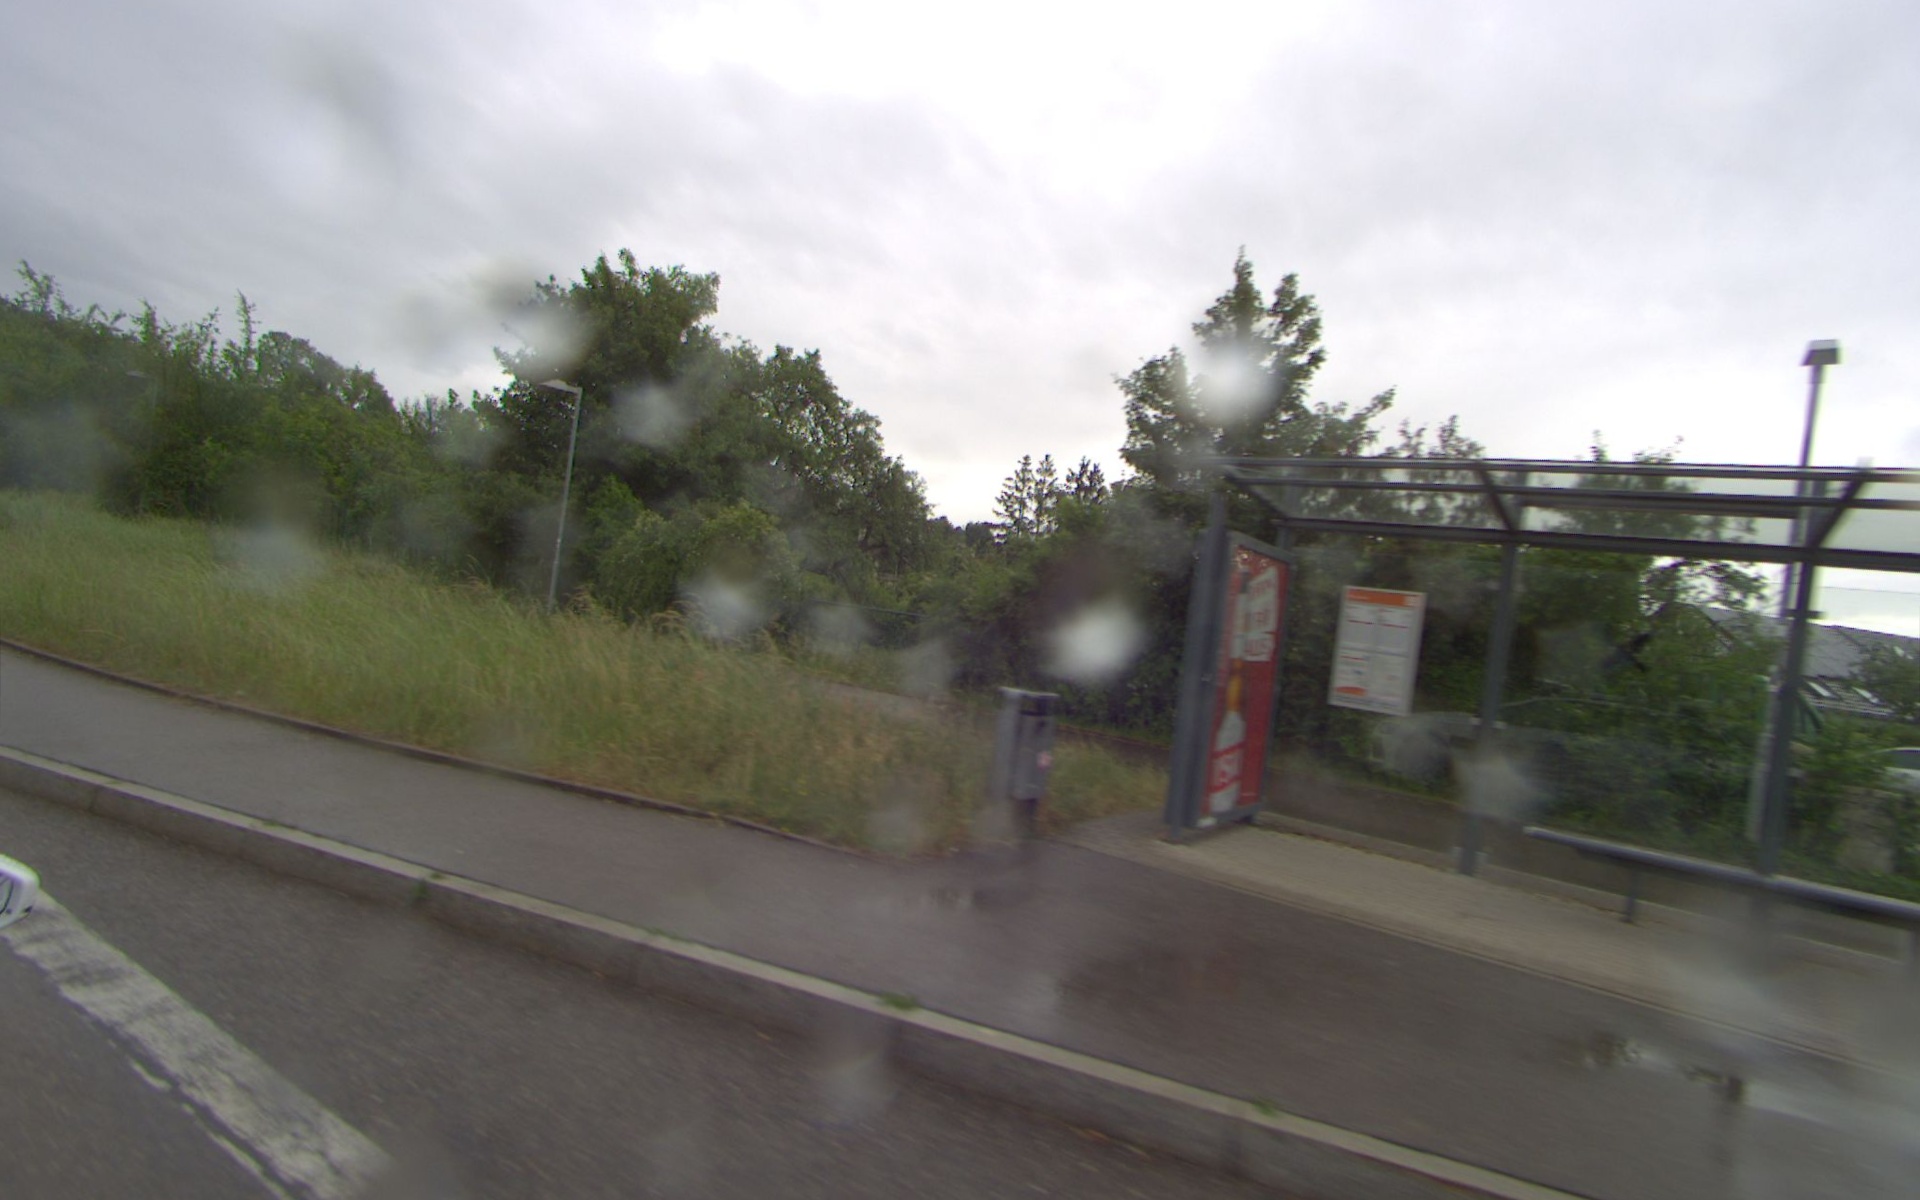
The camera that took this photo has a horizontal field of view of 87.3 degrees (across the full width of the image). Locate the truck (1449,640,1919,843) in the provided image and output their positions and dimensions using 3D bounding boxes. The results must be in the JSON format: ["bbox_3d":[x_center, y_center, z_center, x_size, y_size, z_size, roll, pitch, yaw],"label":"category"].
[{"bbox_3d":[10.605,2.036,14.896,5.748,2.134,1.998,7,-1,-7],"label":"truck"}]

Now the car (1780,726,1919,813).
[{"bbox_3d":[20.408,3.755,21.423,1.746,1.449,4.168,8,-1,-35],"label":"car"}]

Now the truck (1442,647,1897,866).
[{"bbox_3d":[10.462,2.272,15.034,5.537,2.556,1.998,6,-1,-8],"label":"truck"}]
